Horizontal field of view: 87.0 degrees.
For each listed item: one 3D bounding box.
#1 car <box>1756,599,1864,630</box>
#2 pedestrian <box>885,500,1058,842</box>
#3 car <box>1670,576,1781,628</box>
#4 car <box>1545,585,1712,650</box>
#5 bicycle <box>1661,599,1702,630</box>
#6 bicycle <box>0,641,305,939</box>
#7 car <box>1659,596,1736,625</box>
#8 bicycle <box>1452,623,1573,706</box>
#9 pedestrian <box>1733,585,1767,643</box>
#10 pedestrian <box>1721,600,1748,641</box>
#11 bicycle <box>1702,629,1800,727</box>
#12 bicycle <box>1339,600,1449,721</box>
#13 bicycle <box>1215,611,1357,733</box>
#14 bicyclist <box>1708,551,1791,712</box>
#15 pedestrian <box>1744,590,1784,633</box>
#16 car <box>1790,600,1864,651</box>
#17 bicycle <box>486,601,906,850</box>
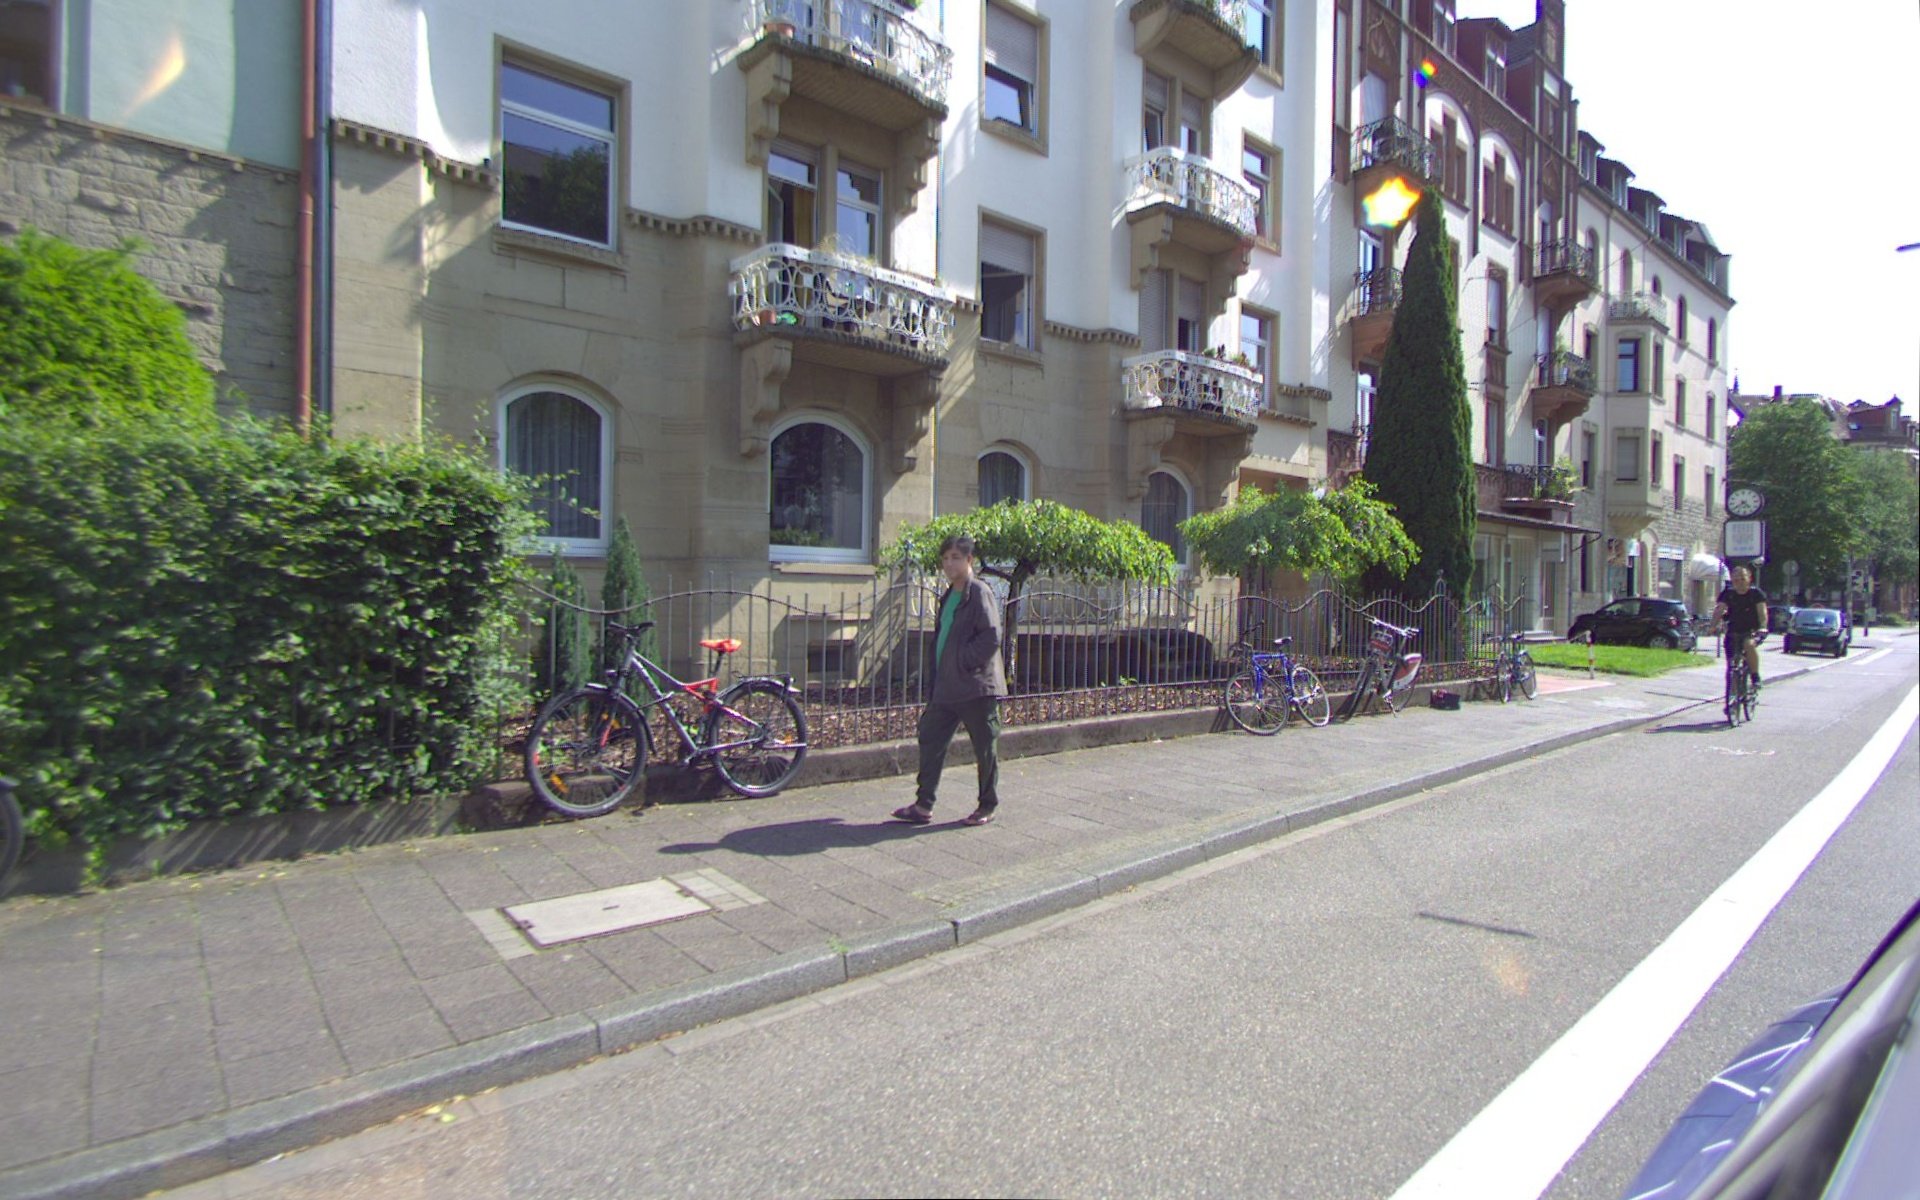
[{"bbox_3d":[43.182,0.689,51.531,1.854,1.437,4.005,1,1,-6],"label":"car"},{"bbox_3d":[0.061,0.371,6.034,0.787,1.884,0.571,4,3,43],"label":"pedestrian"},{"bbox_3d":[45.051,0.115,59.833,2.353,2.829,6.655,1,0,9],"label":"car"},{"bbox_3d":[18.542,0.435,28.153,1.936,1.542,3.411,0,3,-38],"label":"car"},{"bbox_3d":[28.405,0.561,39.826,2.707,1.192,0.805,0,-1,-44],"label":"bicycle"},{"bbox_3d":[-3.875,0.726,3.792,2.322,1.008,0.612,0,4,-42],"label":"bicycle"},{"bbox_3d":[42.090,0.590,57.836,1.699,1.574,4.105,-2,0,7],"label":"car"},{"bbox_3d":[7.935,0.870,14.451,3.015,0.972,0.600,0,4,-44],"label":"bicycle"},{"bbox_3d":[26.656,0.458,34.136,0.659,1.863,0.860,9,6,41],"label":"pedestrian"},{"bbox_3d":[26.334,0.682,34.415,0.570,1.341,0.436,7,5,41],"label":"pedestrian"},{"bbox_3d":[10.210,0.968,13.045,1.804,1.057,0.617,-1,4,-41],"label":"bicycle"},{"bbox_3d":[5.015,0.652,11.632,1.813,1.276,0.451,1,2,-44],"label":"bicycle"},{"bbox_3d":[3.370,0.696,10.383,1.811,1.136,0.452,1,2,-40],"label":"bicycle"},{"bbox_3d":[10.139,0.389,12.993,1.111,1.973,0.608,0,-1,-41],"label":"bicyclist"},{"bbox_3d":[36.377,0.528,45.792,0.834,1.788,1.014,2,7,-40],"label":"pedestrian"},{"bbox_3d":[28.364,0.804,33.093,2.747,1.517,1.516,0,3,-43],"label":"car"},{"bbox_3d":[-1.532,0.644,6.302,2.473,1.246,0.741,0,1,-42],"label":"bicycle"}]
